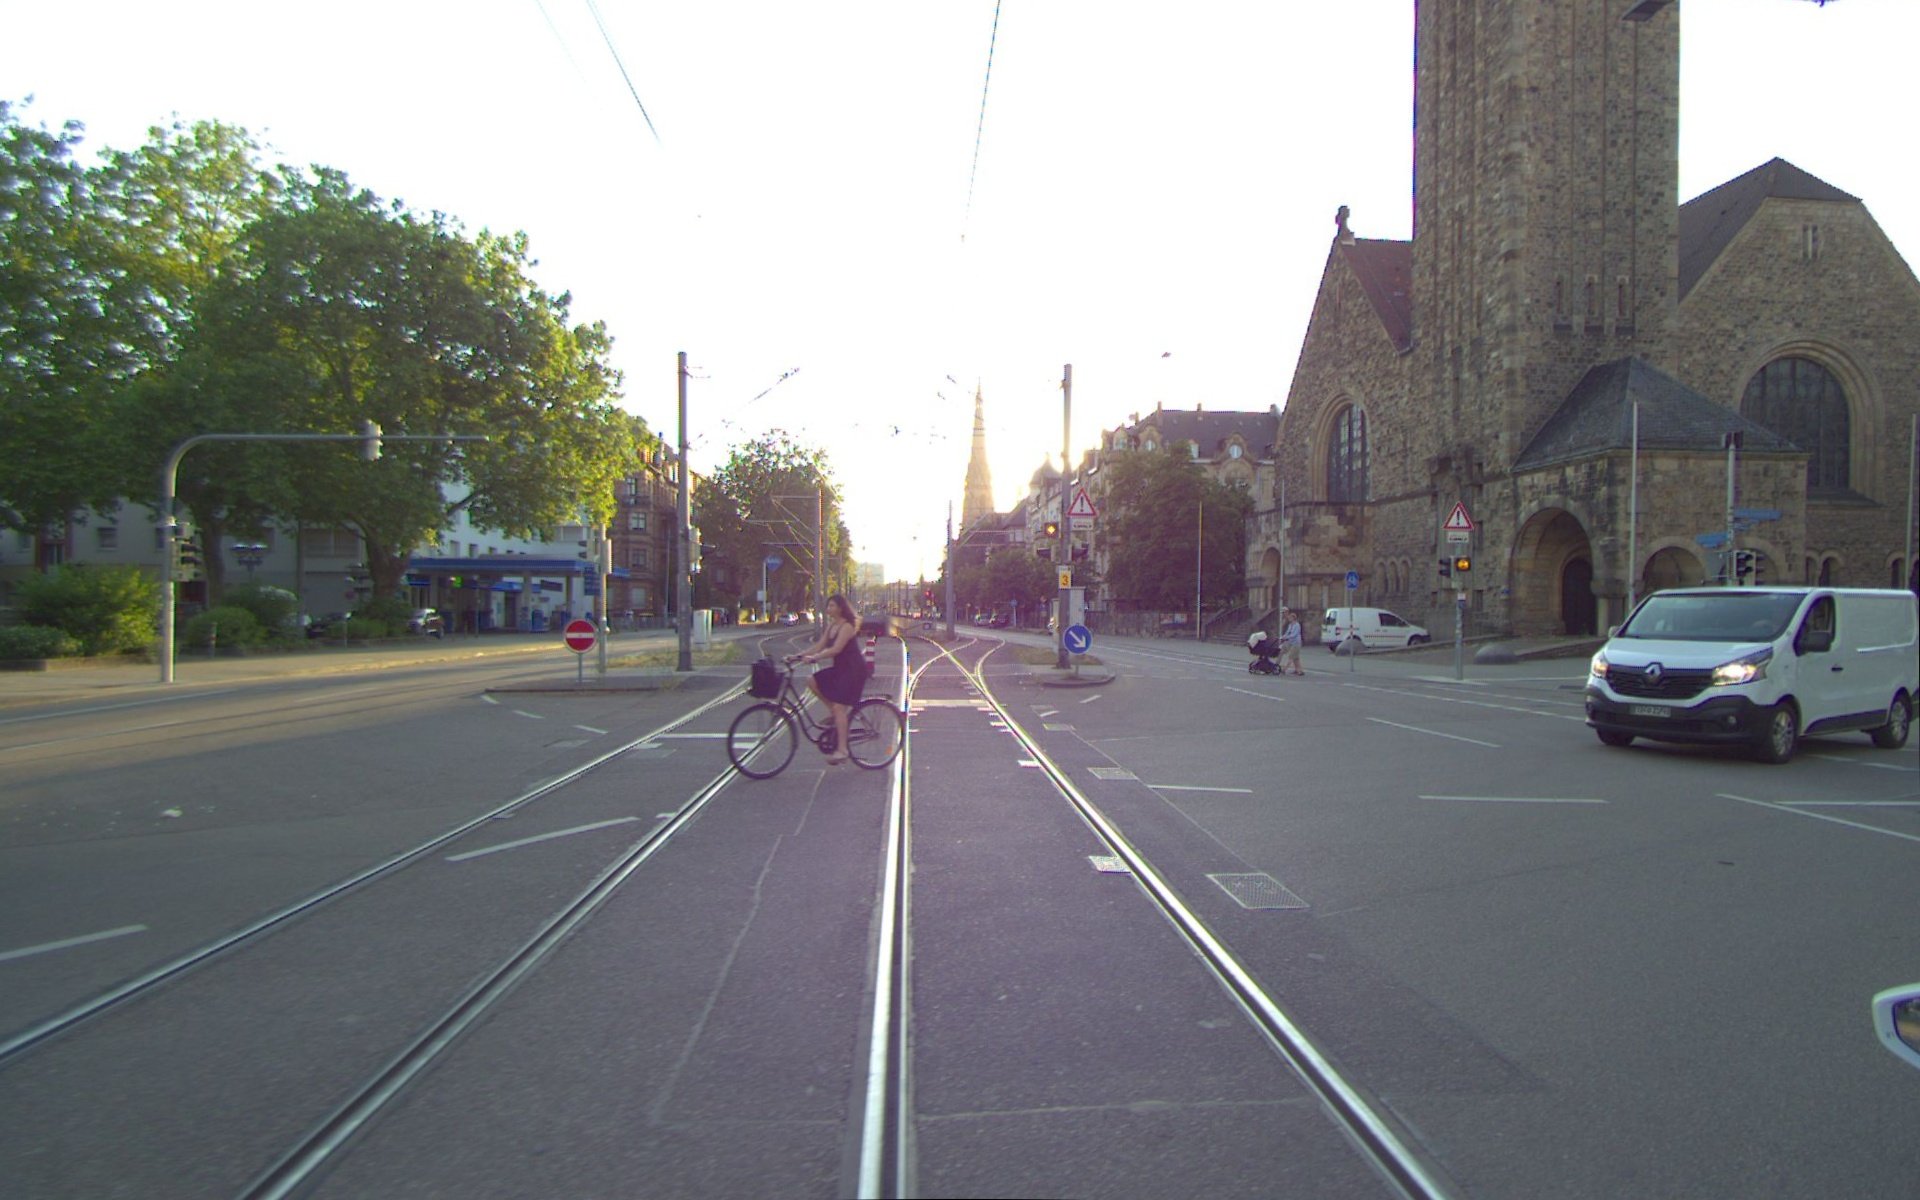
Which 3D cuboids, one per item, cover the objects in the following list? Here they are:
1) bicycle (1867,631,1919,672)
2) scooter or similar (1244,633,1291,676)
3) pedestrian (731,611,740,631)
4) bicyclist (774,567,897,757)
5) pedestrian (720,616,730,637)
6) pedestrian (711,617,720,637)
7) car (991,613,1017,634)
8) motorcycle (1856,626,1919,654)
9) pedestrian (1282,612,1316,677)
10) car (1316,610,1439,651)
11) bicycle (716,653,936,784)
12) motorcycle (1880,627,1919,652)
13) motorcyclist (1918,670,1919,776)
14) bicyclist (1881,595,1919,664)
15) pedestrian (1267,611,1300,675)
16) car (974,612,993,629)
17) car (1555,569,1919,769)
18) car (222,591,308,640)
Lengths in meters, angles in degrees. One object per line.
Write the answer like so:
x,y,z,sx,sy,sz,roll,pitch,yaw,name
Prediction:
26.135,1.421,27.716,2.210,1.092,0.656,1,0,-19,bicycle
8.345,1.477,27.267,1.061,1.118,0.633,1,0,-18,scooter or similar
-23.170,2.193,103.650,0.837,2.040,0.712,1,0,-8,pedestrian
-1.148,0.547,9.276,0.952,1.666,0.596,1,0,-30,bicyclist
-24.196,2.719,103.403,0.837,2.040,0.712,1,0,-8,pedestrian
-25.141,2.766,103.238,0.837,2.040,0.712,1,0,-8,pedestrian
4.697,2.492,107.600,1.964,2.040,3.993,1,0,-9,car
37.124,1.575,39.849,0.700,1.001,2.230,1,0,-34,motorcycle
9.195,1.192,27.276,0.593,1.721,0.633,1,0,-18,pedestrian
17.174,1.238,41.415,4.371,1.537,1.718,1,0,-5,car
-1.206,1.044,9.240,1.923,1.057,0.596,1,0,-31,bicycle
38.911,1.612,40.752,0.700,1.001,2.230,1,0,-34,motorcycle
8.711,0.663,8.328,0.952,1.666,0.870,1,0,-30,motorcyclist
26.096,0.809,27.727,0.846,1.852,0.655,1,0,-21,bicyclist
8.983,1.189,27.910,0.593,1.721,0.633,1,0,-19,pedestrian
2.858,2.475,123.279,1.961,2.040,3.999,1,0,-2,car
9.709,0.763,12.401,4.893,2.040,1.984,1,-1,-31,car
-35.983,0.776,52.110,1.963,2.375,3.996,1,0,-6,car
